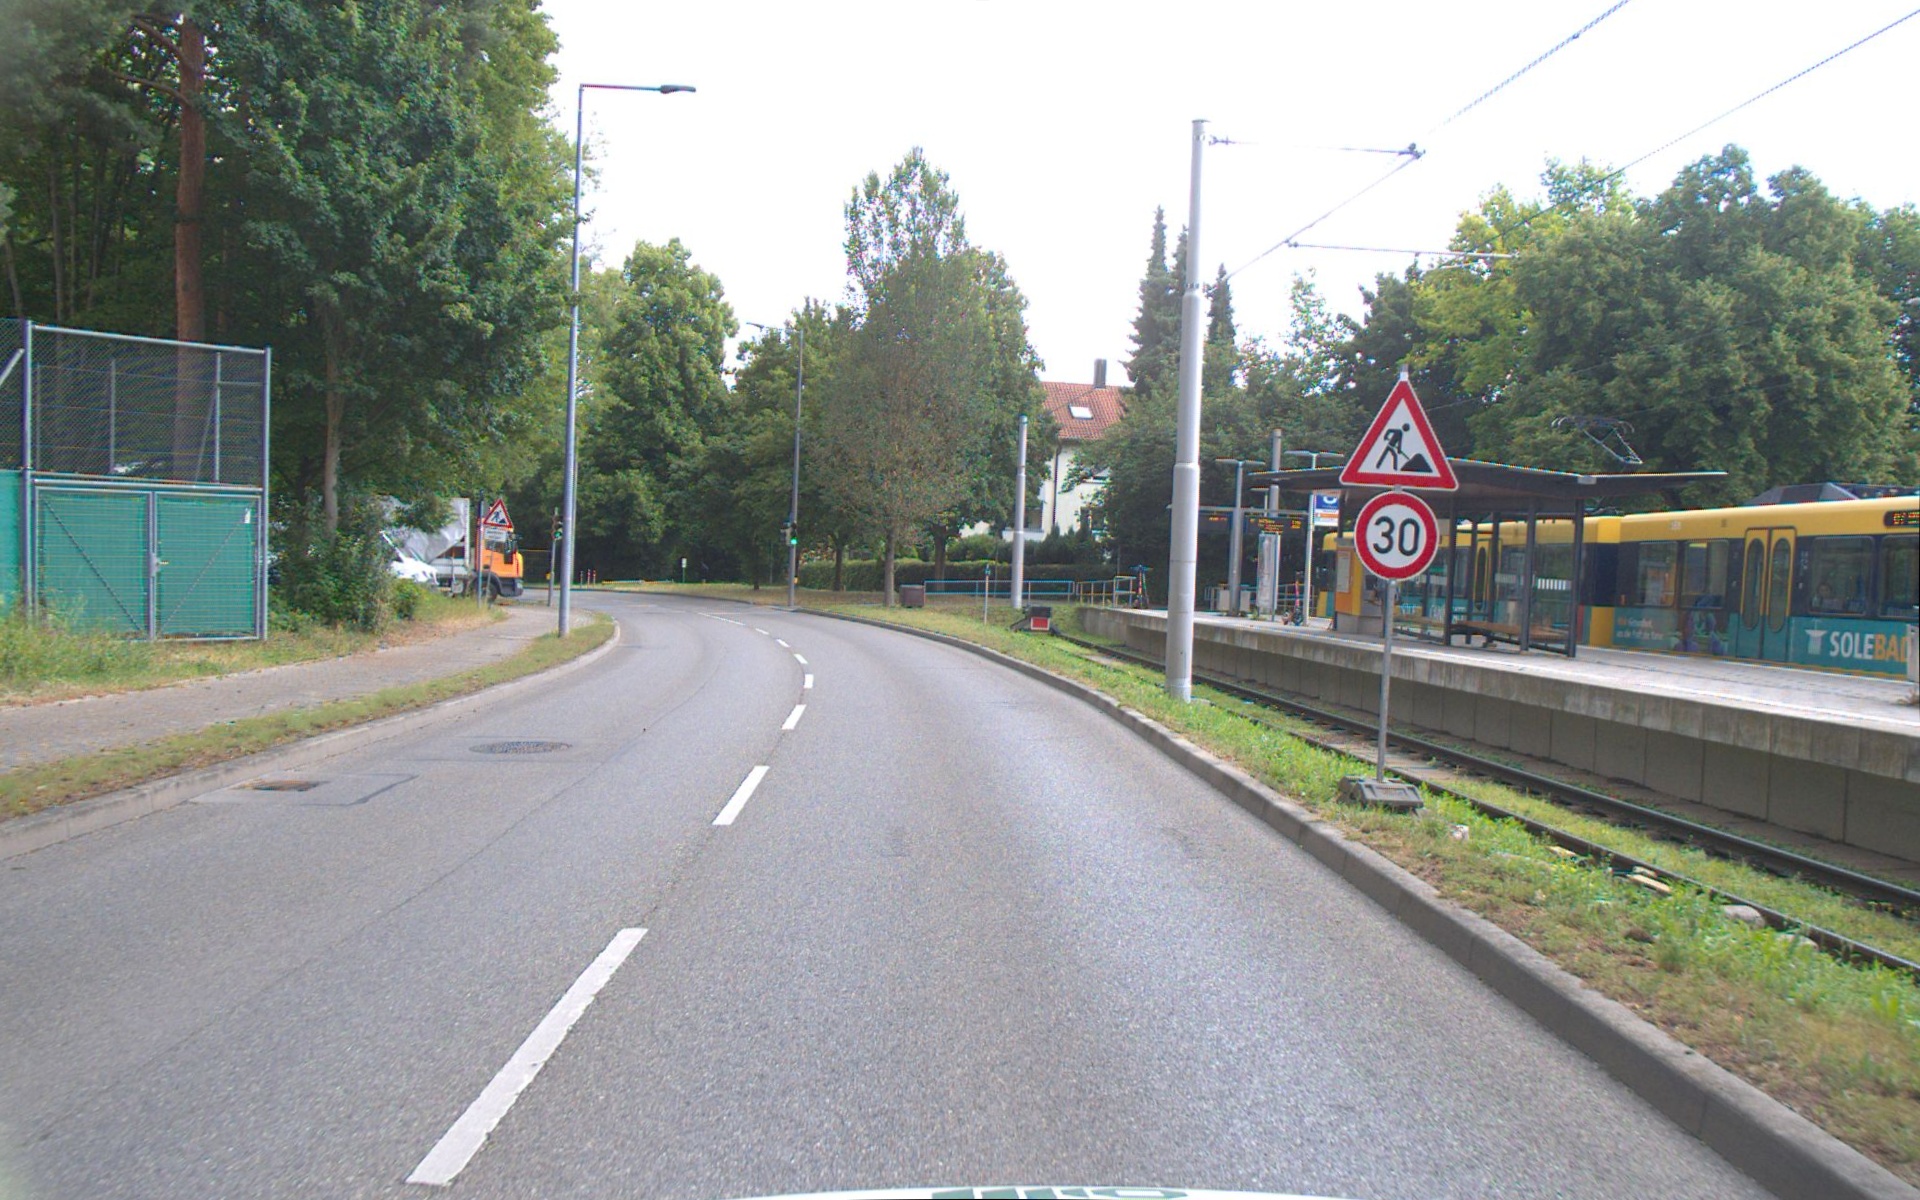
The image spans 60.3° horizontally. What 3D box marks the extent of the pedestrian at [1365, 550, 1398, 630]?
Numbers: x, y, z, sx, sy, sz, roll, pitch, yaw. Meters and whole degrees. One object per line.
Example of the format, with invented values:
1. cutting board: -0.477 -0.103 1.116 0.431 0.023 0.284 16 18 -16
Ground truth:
1. pedestrian: 8.593 -0.198 33.736 0.609 1.600 0.665 2 0 13

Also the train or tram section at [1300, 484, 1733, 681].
1. train or tram section: 12.748 -0.593 41.625 2.758 3.650 19.498 3 1 -4

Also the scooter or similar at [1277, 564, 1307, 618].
1. scooter or similar: 7.933 -0.216 39.546 0.361 1.264 1.145 2 1 -5

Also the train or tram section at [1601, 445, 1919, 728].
1. train or tram section: 14.285 -0.101 21.779 2.758 3.801 19.501 3 1 -4

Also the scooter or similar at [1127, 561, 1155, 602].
1. scooter or similar: 5.654 -0.566 51.714 0.423 1.275 1.249 1 -1 -16

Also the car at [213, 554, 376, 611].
1. car: -17.890 -0.449 44.474 3.939 1.350 1.702 2 -2 -27

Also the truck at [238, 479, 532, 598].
1. truck: -19.273 -1.993 55.873 9.090 3.593 2.552 2 0 -19

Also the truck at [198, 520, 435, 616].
1. truck: -18.911 -0.895 48.867 6.294 2.458 2.110 3 -1 -21

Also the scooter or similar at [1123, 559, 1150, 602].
1. scooter or similar: 5.288 -0.576 49.528 0.422 1.275 1.250 1 -1 -13
